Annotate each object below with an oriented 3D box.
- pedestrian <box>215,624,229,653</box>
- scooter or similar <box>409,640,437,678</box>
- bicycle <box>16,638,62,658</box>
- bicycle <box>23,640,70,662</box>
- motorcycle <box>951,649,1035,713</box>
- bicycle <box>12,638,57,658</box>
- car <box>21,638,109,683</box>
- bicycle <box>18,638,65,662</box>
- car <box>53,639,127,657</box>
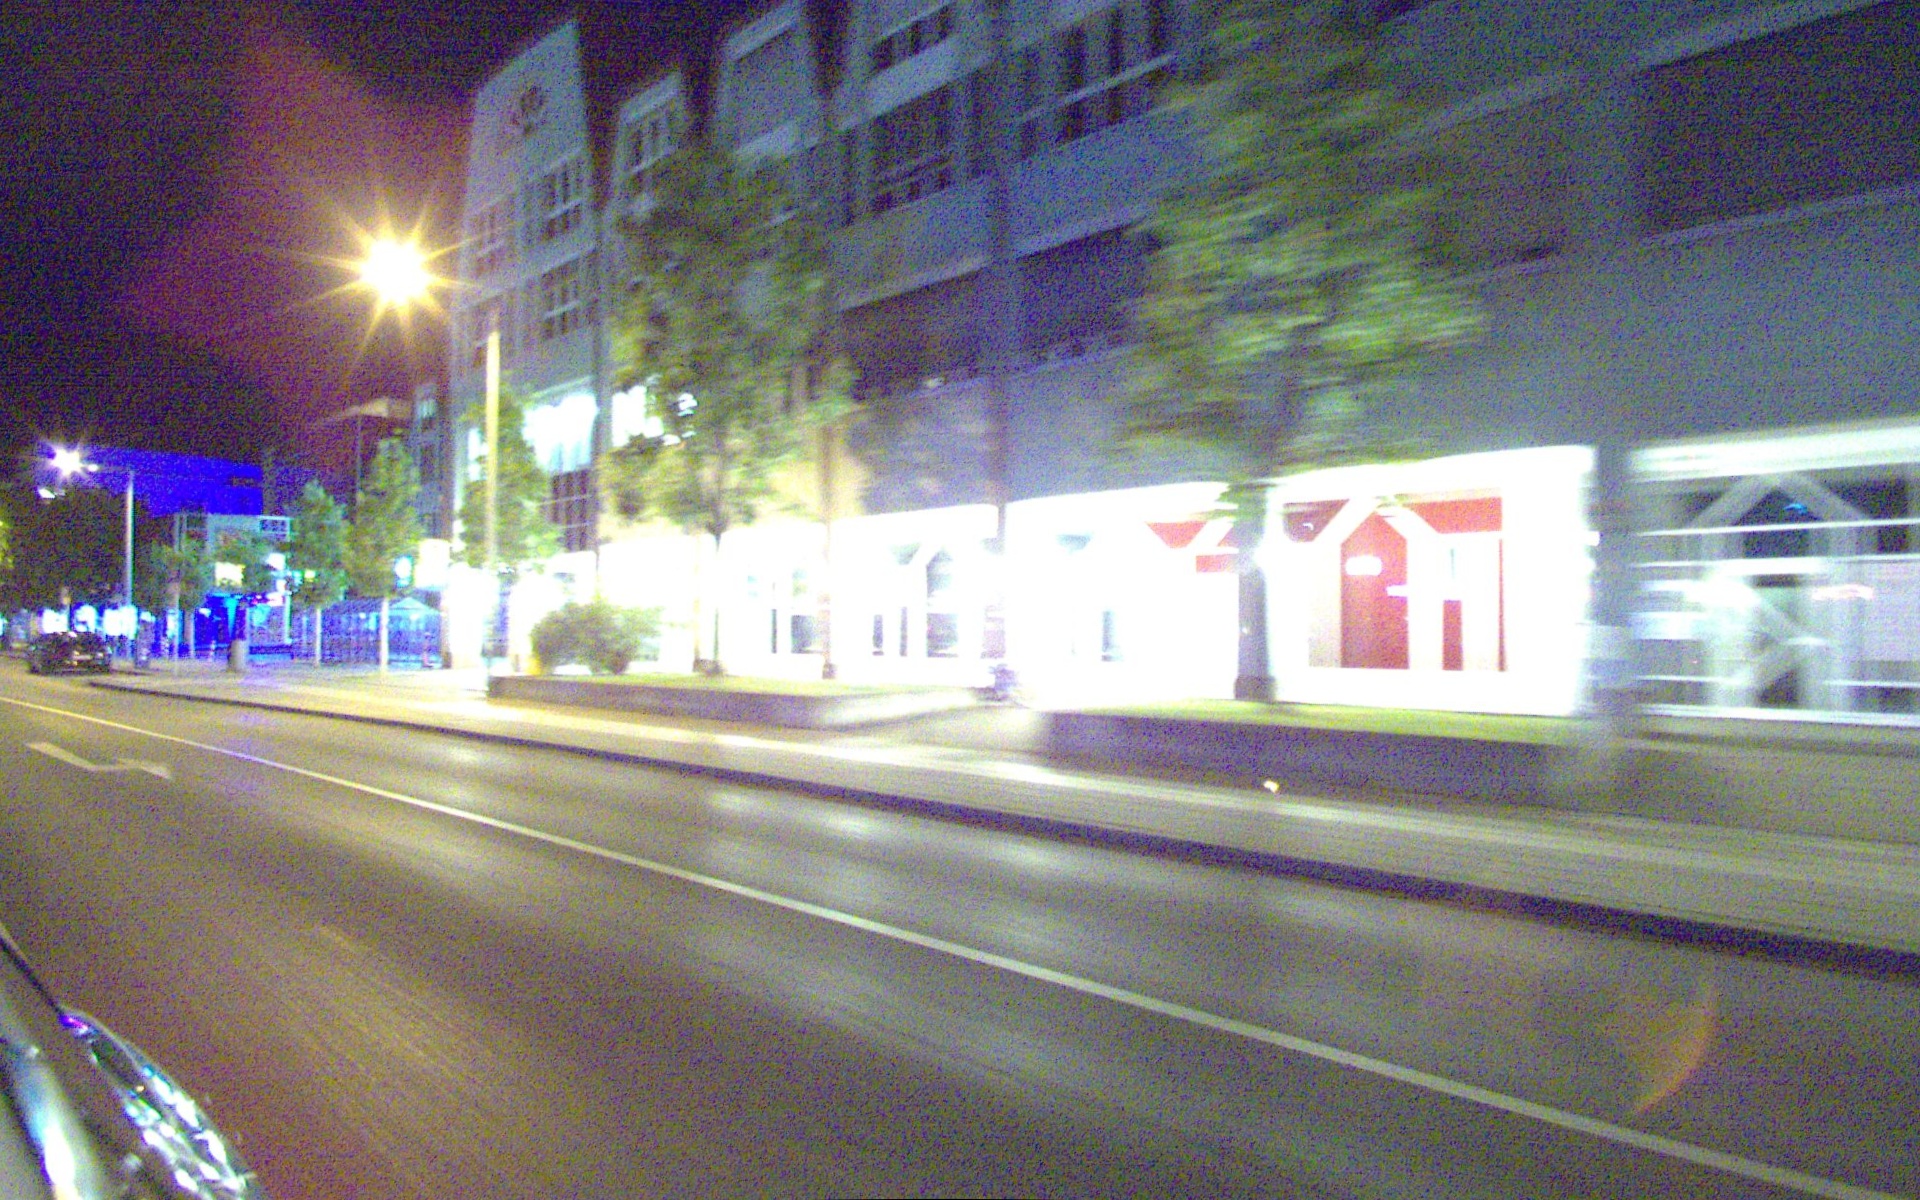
[{"bbox_3d":[-42.385,2.191,58.110,0.631,1.649,0.473,-2,-3,41],"label":"pedestrian"},{"bbox_3d":[-17.970,1.955,33.870,1.344,1.230,0.383,-2,-3,43],"label":"scooter or similar"},{"bbox_3d":[-51.236,2.672,56.325,0.532,1.043,1.832,-2,-1,40],"label":"bicycle"},{"bbox_3d":[-49.500,2.778,54.851,0.532,1.175,1.832,-2,-3,40],"label":"bicycle"},{"bbox_3d":[0.543,1.367,17.428,0.472,1.028,1.678,2,-3,-39],"label":"motorcycle"},{"bbox_3d":[-51.832,2.687,56.692,0.532,1.007,1.832,-2,-1,40],"label":"bicycle"},{"bbox_3d":[-30.925,2.044,34.910,4.493,1.424,1.723,-2,-2,41],"label":"car"},{"bbox_3d":[-50.674,2.761,55.865,0.532,1.263,1.832,-2,-3,40],"label":"bicycle"},{"bbox_3d":[-69.758,3.817,81.213,1.802,1.408,4.285,-2,-2,39],"label":"car"}]
